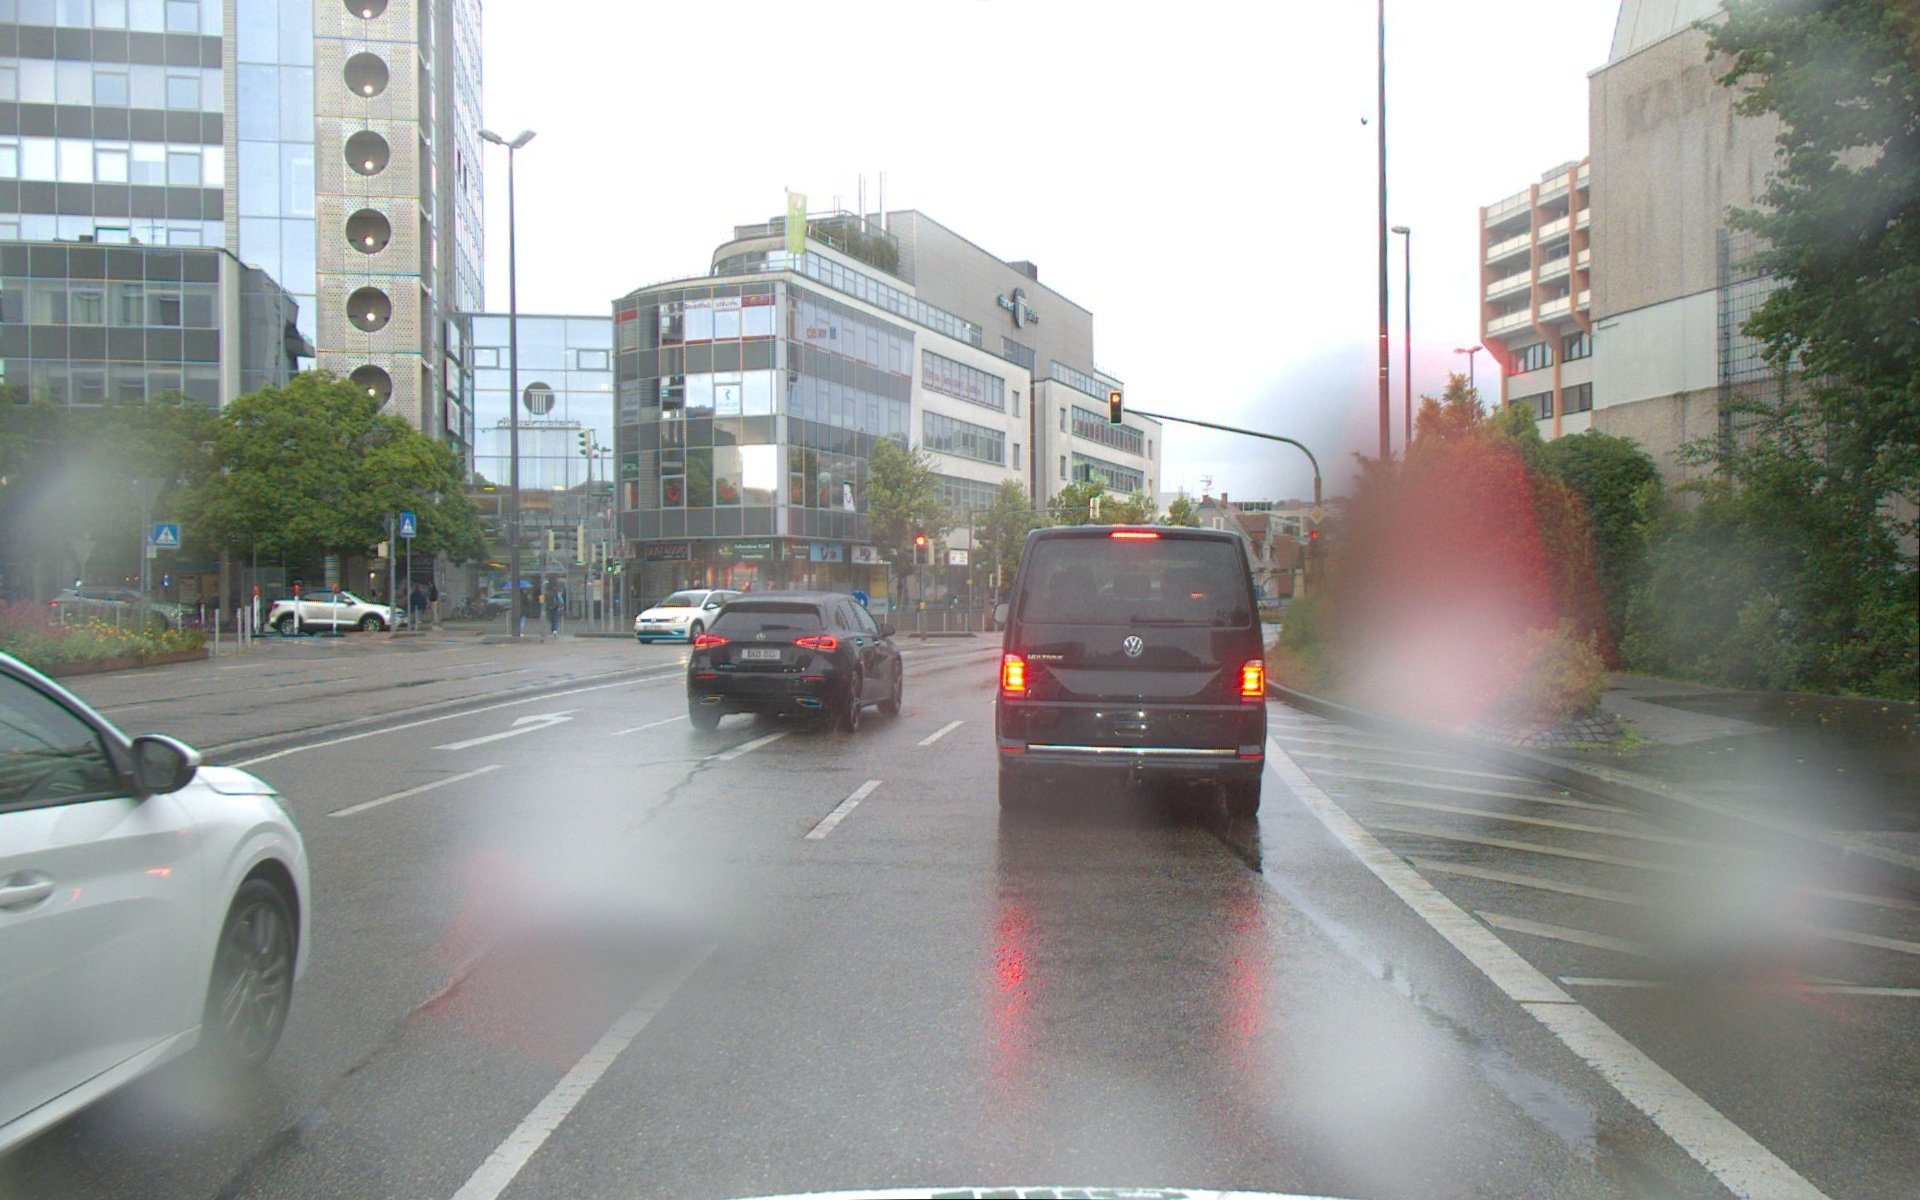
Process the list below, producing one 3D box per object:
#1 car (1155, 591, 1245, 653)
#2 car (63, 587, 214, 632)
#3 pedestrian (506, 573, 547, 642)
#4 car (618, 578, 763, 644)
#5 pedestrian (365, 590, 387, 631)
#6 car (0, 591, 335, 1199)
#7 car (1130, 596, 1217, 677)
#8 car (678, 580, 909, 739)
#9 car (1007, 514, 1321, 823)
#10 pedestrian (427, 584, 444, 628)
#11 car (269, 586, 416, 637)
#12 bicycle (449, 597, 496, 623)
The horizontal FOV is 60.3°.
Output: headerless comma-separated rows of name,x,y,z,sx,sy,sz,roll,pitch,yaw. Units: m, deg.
car,5.813,0.519,39.758,1.871,1.425,3.460,0,0,13
car,-26.725,0.303,53.884,3.966,1.445,1.869,0,0,-4
pedestrian,-13.124,0.230,50.021,1.144,2.049,1.322,0,0,-17
car,-7.330,0.291,45.475,1.847,1.712,4.504,1,0,23
pedestrian,-27.233,0.474,77.117,0.746,1.901,0.822,-1,0,-38
car,-2.972,0.723,3.561,1.834,1.487,3.872,0,0,-1
car,4.416,0.693,33.780,1.599,1.473,4.272,1,1,9
car,-1.739,0.575,18.517,1.777,1.556,3.815,1,1,6
car,1.483,0.432,12.735,1.953,1.927,4.590,1,0,5
pedestrian,-24.865,0.281,78.346,0.750,2.049,0.711,0,0,-17
car,-20.088,0.355,53.911,4.111,1.623,1.868,0,0,-6
bicycle,-24.885,0.505,84.479,2.233,1.268,0.674,-1,0,-12
